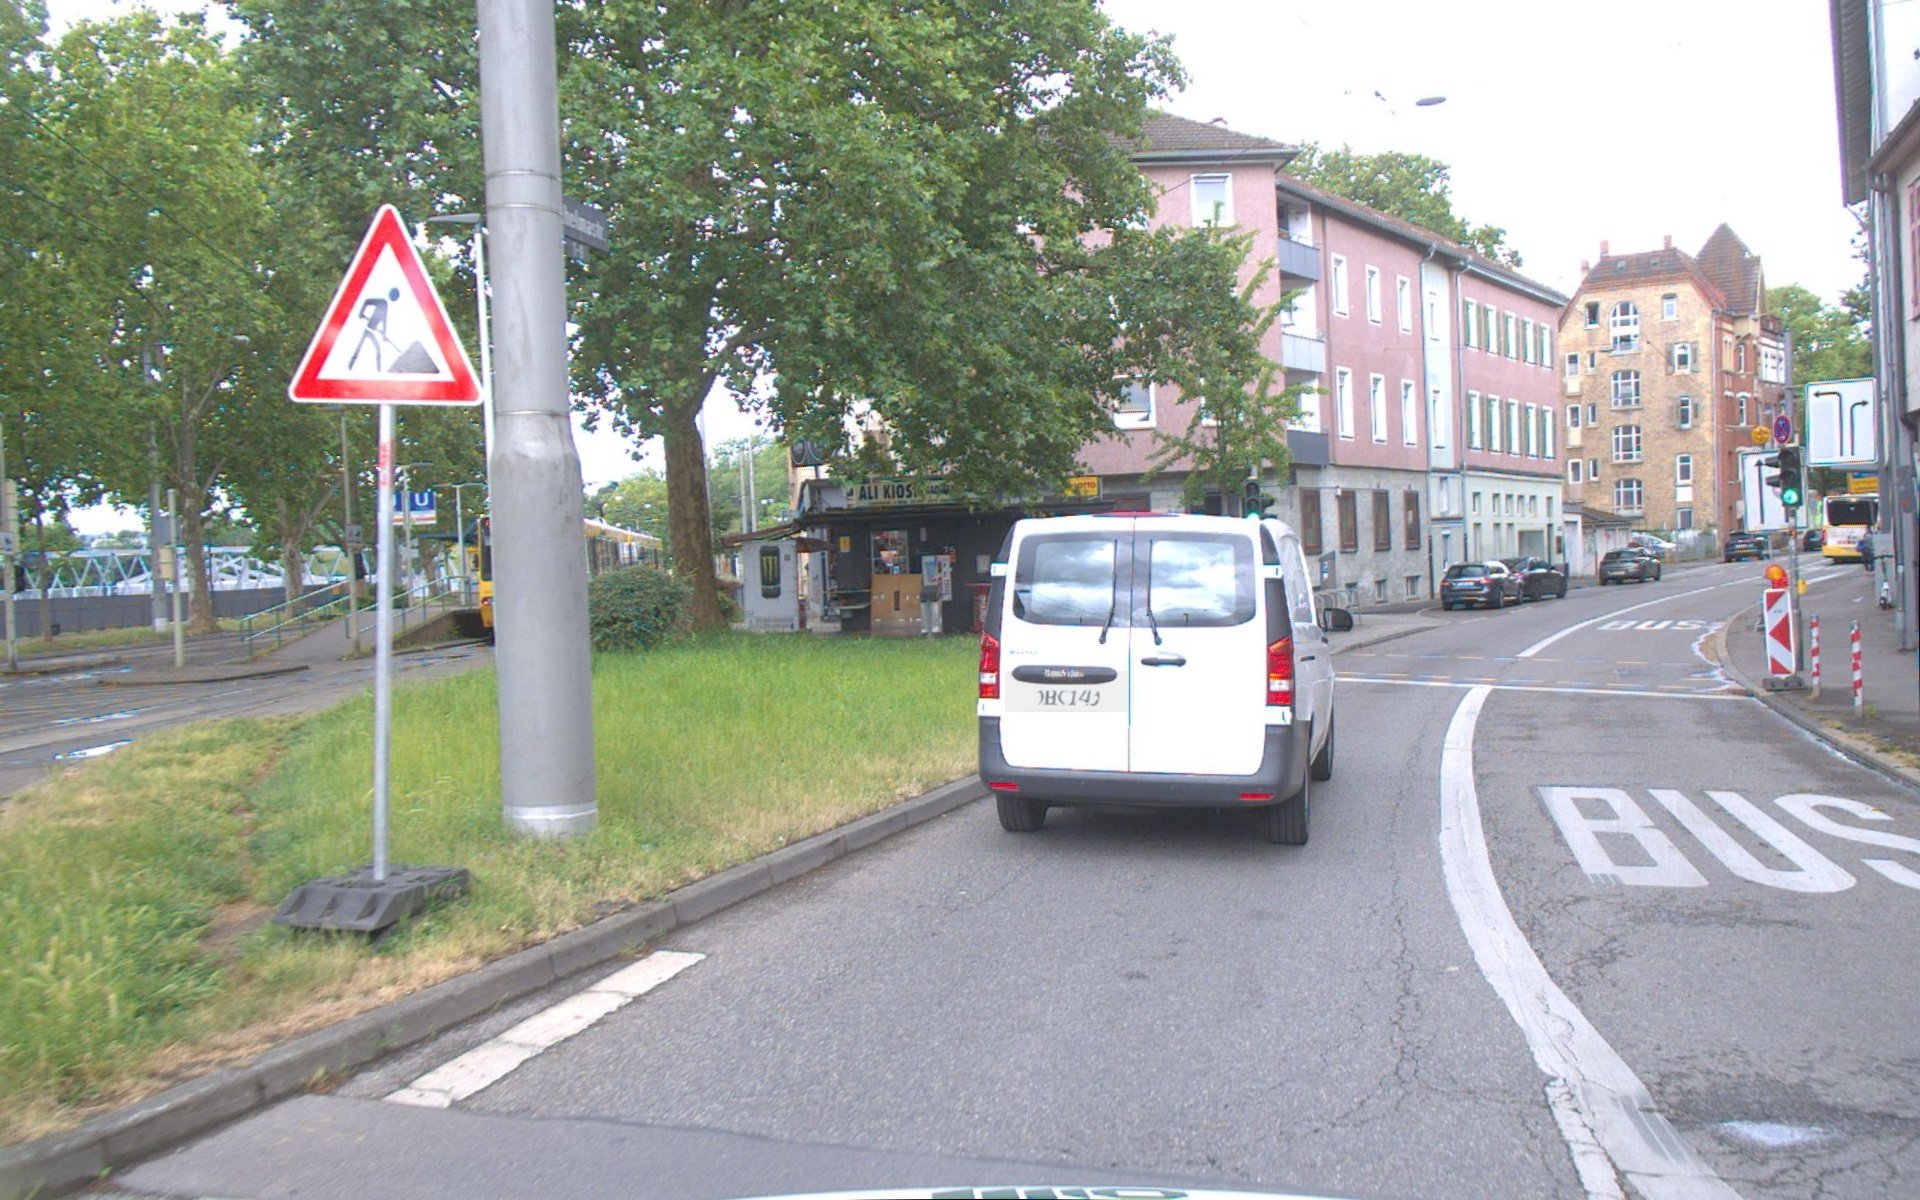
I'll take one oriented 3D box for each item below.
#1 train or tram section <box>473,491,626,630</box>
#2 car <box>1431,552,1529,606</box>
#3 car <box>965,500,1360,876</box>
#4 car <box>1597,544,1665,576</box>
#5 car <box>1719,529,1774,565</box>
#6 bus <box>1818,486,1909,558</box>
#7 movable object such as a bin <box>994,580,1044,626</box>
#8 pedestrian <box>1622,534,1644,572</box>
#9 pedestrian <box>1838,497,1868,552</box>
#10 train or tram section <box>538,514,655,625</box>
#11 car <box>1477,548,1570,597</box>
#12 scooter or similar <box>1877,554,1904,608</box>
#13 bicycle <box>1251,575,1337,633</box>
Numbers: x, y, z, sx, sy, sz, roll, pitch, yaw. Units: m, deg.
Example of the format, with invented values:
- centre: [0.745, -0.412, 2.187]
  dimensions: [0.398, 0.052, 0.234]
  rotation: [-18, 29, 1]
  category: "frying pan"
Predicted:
- centre: [-12.292, -1.050, 50.552]
  dimensions: [2.859, 3.736, 10.993]
  rotation: [1, 0, -5]
  category: "train or tram section"
- centre: [16.114, -0.664, 51.112]
  dimensions: [1.795, 1.480, 4.574]
  rotation: [-2, 1, 31]
  category: "car"
- centre: [1.583, 0.387, 11.018]
  dimensions: [1.877, 1.934, 4.705]
  rotation: [1, 1, 16]
  category: "car"
- centre: [28.159, -1.689, 69.364]
  dimensions: [1.958, 1.312, 3.990]
  rotation: [1, 2, 32]
  category: "car"
- centre: [43.437, -2.936, 91.303]
  dimensions: [1.921, 1.763, 4.758]
  rotation: [-2, 2, 35]
  category: "car"
- centre: [43.060, -3.777, 78.683]
  dimensions: [2.618, 3.190, 10.005]
  rotation: [1, 3, 36]
  category: "bus"
- centre: [1.338, 0.059, 37.597]
  dimensions: [0.947, 0.981, 1.111]
  rotation: [1, 3, -8]
  category: "movable object such as a bin"
- centre: [31.362, -2.204, 77.063]
  dimensions: [0.748, 1.774, 0.982]
  rotation: [1, 2, 33]
  category: "pedestrian"
- centre: [31.223, -2.650, 57.812]
  dimensions: [0.788, 1.824, 0.941]
  rotation: [-5, 1, 30]
  category: "pedestrian"
- centre: [-13.307, -1.019, 61.496]
  dimensions: [2.859, 3.736, 10.993]
  rotation: [1, 0, -5]
  category: "train or tram section"
- centre: [19.163, -0.962, 56.105]
  dimensions: [1.797, 1.480, 4.907]
  rotation: [-2, 1, 33]
  category: "car"
- centre: [20.491, -0.424, 36.425]
  dimensions: [0.420, 1.116, 1.437]
  rotation: [-4, 1, 29]
  category: "scooter or similar"
- centre: [7.065, 0.073, 35.006]
  dimensions: [1.763, 1.196, 0.725]
  rotation: [0, 1, 11]
  category: "bicycle"
